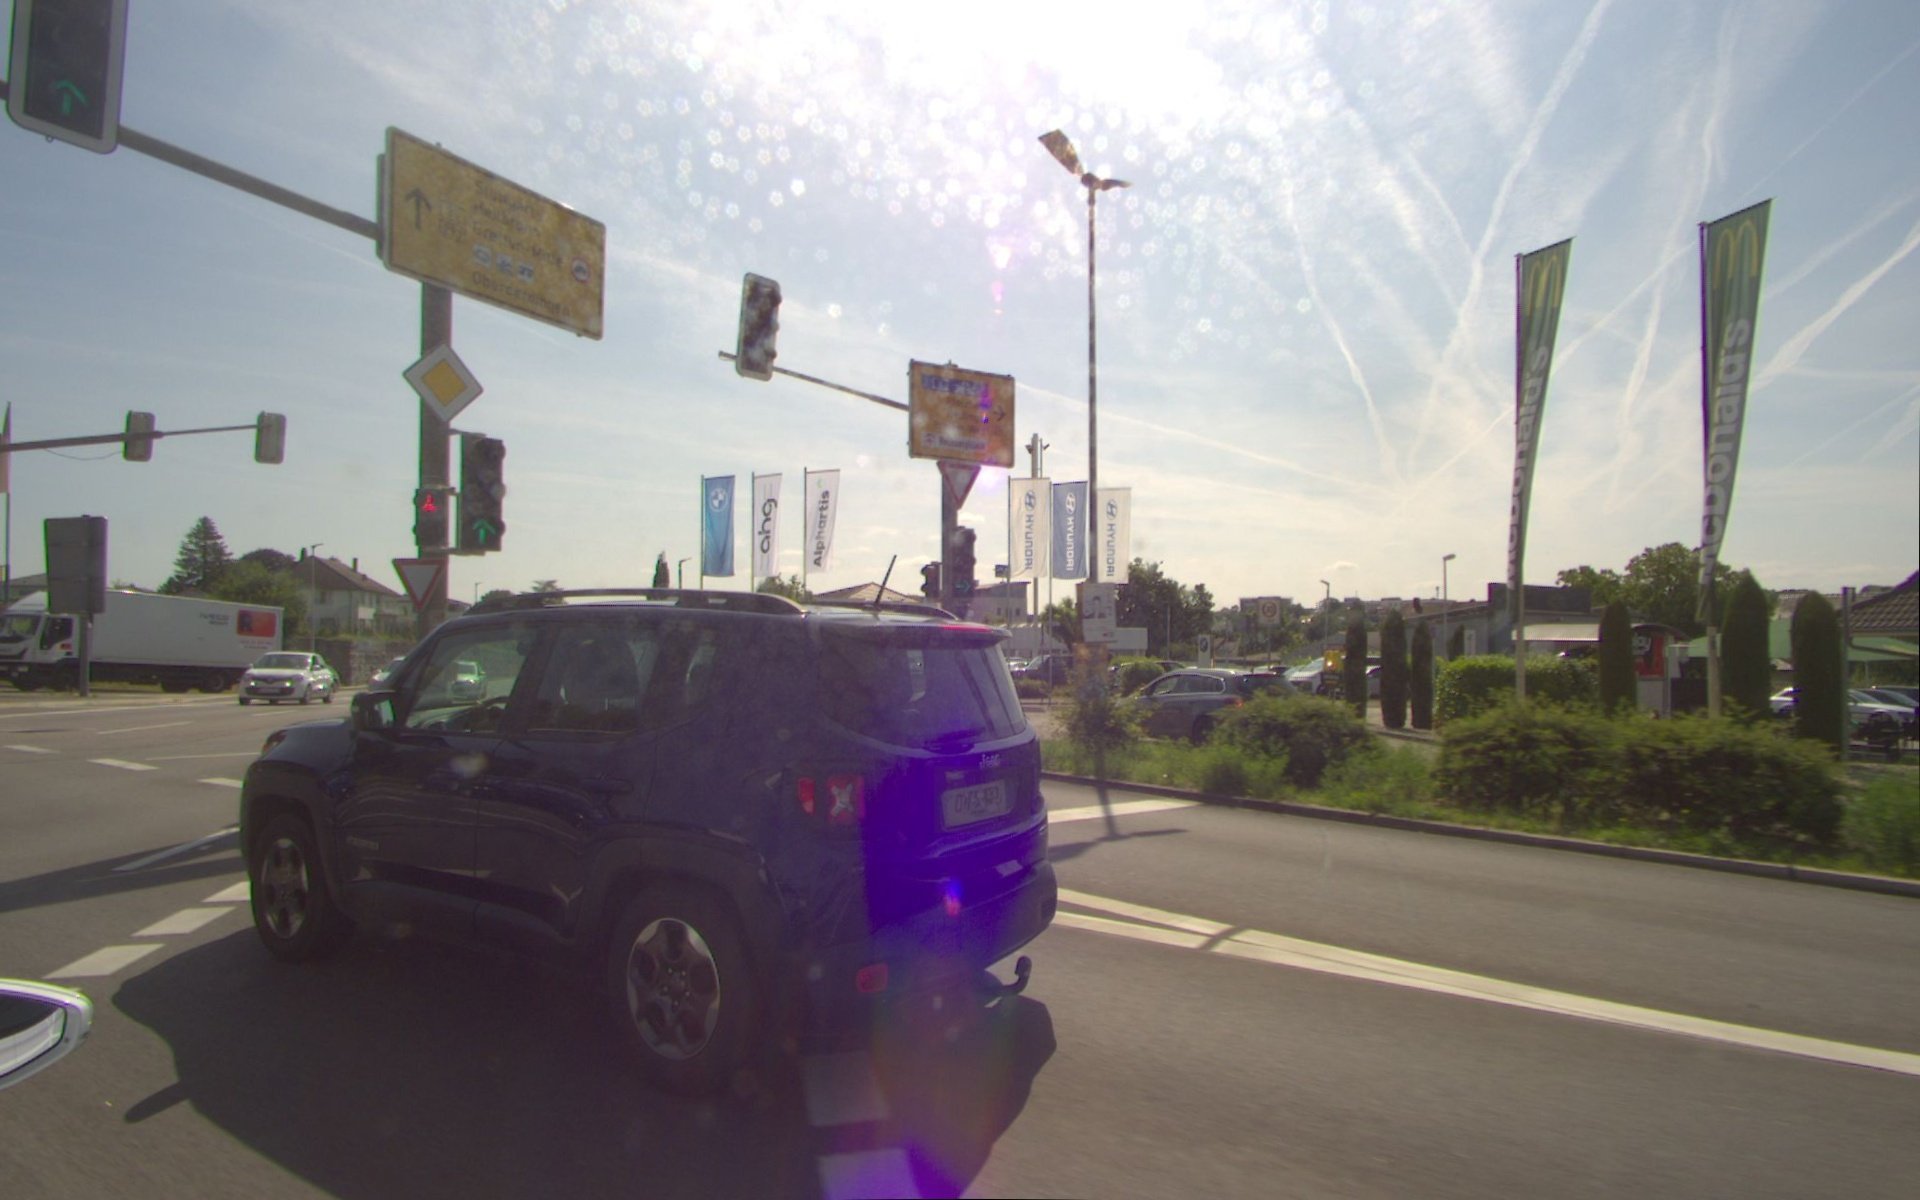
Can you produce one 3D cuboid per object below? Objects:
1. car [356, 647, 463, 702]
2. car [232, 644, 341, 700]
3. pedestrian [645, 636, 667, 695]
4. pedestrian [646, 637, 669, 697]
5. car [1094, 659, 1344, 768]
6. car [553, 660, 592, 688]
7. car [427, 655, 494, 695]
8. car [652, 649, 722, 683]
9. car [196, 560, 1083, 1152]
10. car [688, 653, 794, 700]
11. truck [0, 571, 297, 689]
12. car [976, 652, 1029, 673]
[{"bbox_3d":[-17.040,2.326,31.242,1.966,1.523,4.994,2,-5,-18],"label":"car"},{"bbox_3d":[-19.831,2.140,29.662,1.682,1.522,3.751,2,-5,-19],"label":"car"},{"bbox_3d":[-10.769,2.311,35.431,0.653,2.039,0.876,1,-2,-22],"label":"pedestrian"},{"bbox_3d":[-10.430,2.294,34.540,0.653,2.039,0.876,1,-2,-22],"label":"pedestrian"},{"bbox_3d":[4.556,1.951,18.337,1.971,1.539,4.428,1,-1,-29],"label":"car"},{"bbox_3d":[-24.330,4.635,62.872,1.969,1.594,3.987,3,-4,-25],"label":"car"},{"bbox_3d":[-20.194,3.038,40.657,1.886,1.515,3.994,2,-4,-19],"label":"car"},{"bbox_3d":[-17.373,4.173,63.785,4.018,2.062,2.061,1,-1,-25],"label":"car"},{"bbox_3d":[-1.594,0.759,4.624,3.941,1.676,1.768,0,-1,31],"label":"car"},{"bbox_3d":[-8.871,3.052,40.487,3.933,1.746,1.995,1,-1,-21],"label":"car"},{"bbox_3d":[-30.846,1.416,38.271,2.716,3.668,9.711,0,-6,14],"label":"truck"},{"bbox_3d":[3.600,5.305,84.990,4.118,1.639,2.004,1,-1,-19],"label":"car"}]
